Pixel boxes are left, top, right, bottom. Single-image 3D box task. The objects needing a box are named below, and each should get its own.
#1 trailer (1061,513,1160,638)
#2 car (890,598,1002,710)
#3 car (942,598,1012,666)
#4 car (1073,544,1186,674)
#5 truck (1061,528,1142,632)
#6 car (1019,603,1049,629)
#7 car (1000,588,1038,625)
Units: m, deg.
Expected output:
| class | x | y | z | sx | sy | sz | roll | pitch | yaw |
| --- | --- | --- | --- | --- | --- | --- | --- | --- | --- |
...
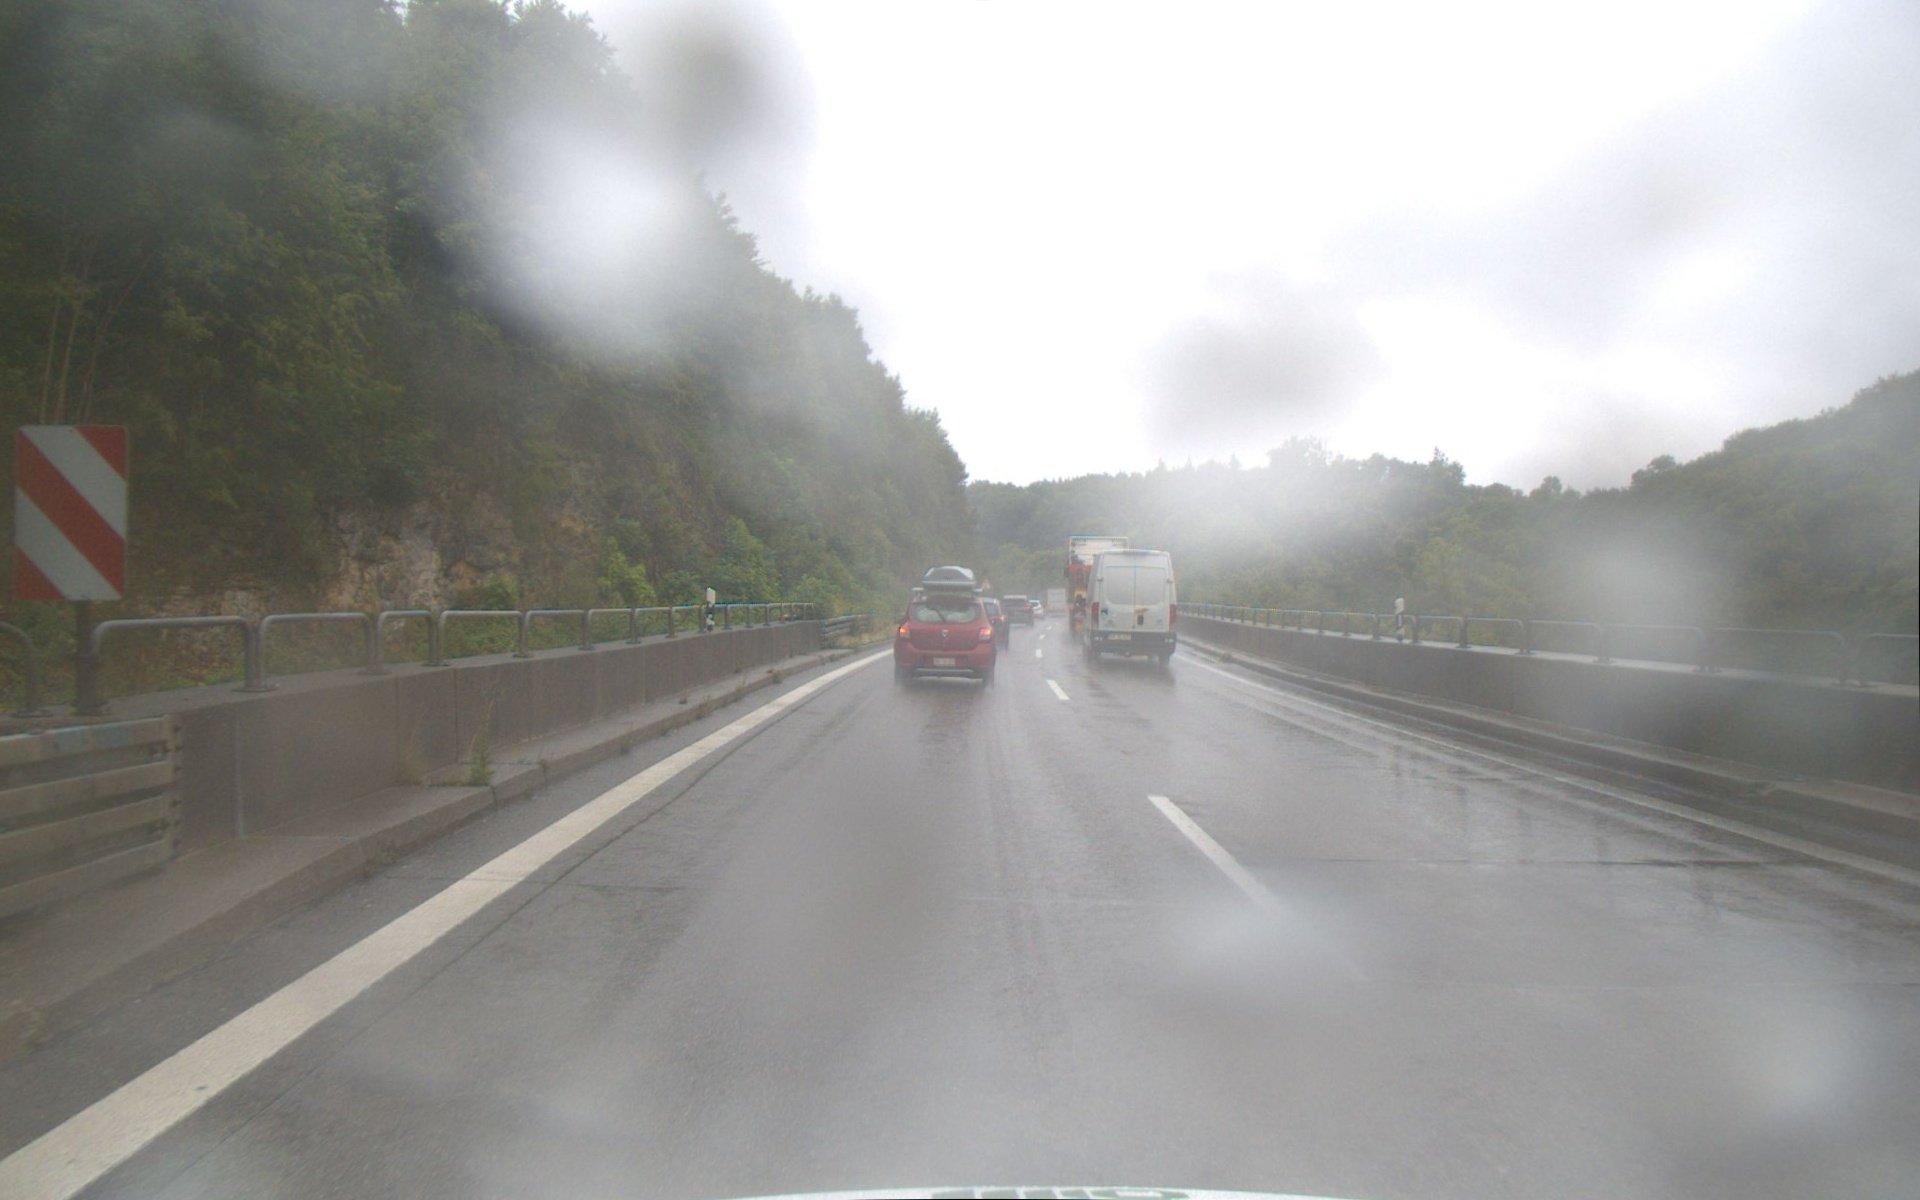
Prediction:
| class | x | y | z | sx | sy | sz | roll | pitch | yaw |
| --- | --- | --- | --- | --- | --- | --- | --- | --- | --- |
| trailer | 5.372 | -0.804 | 61.300 | 3.151 | 4.069 | 13.529 | -1 | 0 | 3 |
| car | -0.228 | 0.878 | 28.613 | 1.722 | 1.714 | 4.000 | -3 | 0 | 0 |
| car | 0.470 | 0.877 | 46.457 | 1.795 | 1.745 | 3.645 | -3 | 0 | 0 |
| car | 3.995 | 0.204 | 40.186 | 2.160 | 2.843 | 7.383 | 0 | 0 | 1 |
| truck | 5.752 | -0.792 | 68.097 | 3.152 | 4.047 | 5.441 | -1 | 0 | 3 |
| car | 5.294 | 1.130 | 117.874 | 1.952 | 1.668 | 4.002 | -3 | 0 | 5 |
| car | 3.088 | 0.327 | 85.370 | 1.836 | 1.735 | 3.890 | -3 | 0 | 3 |
